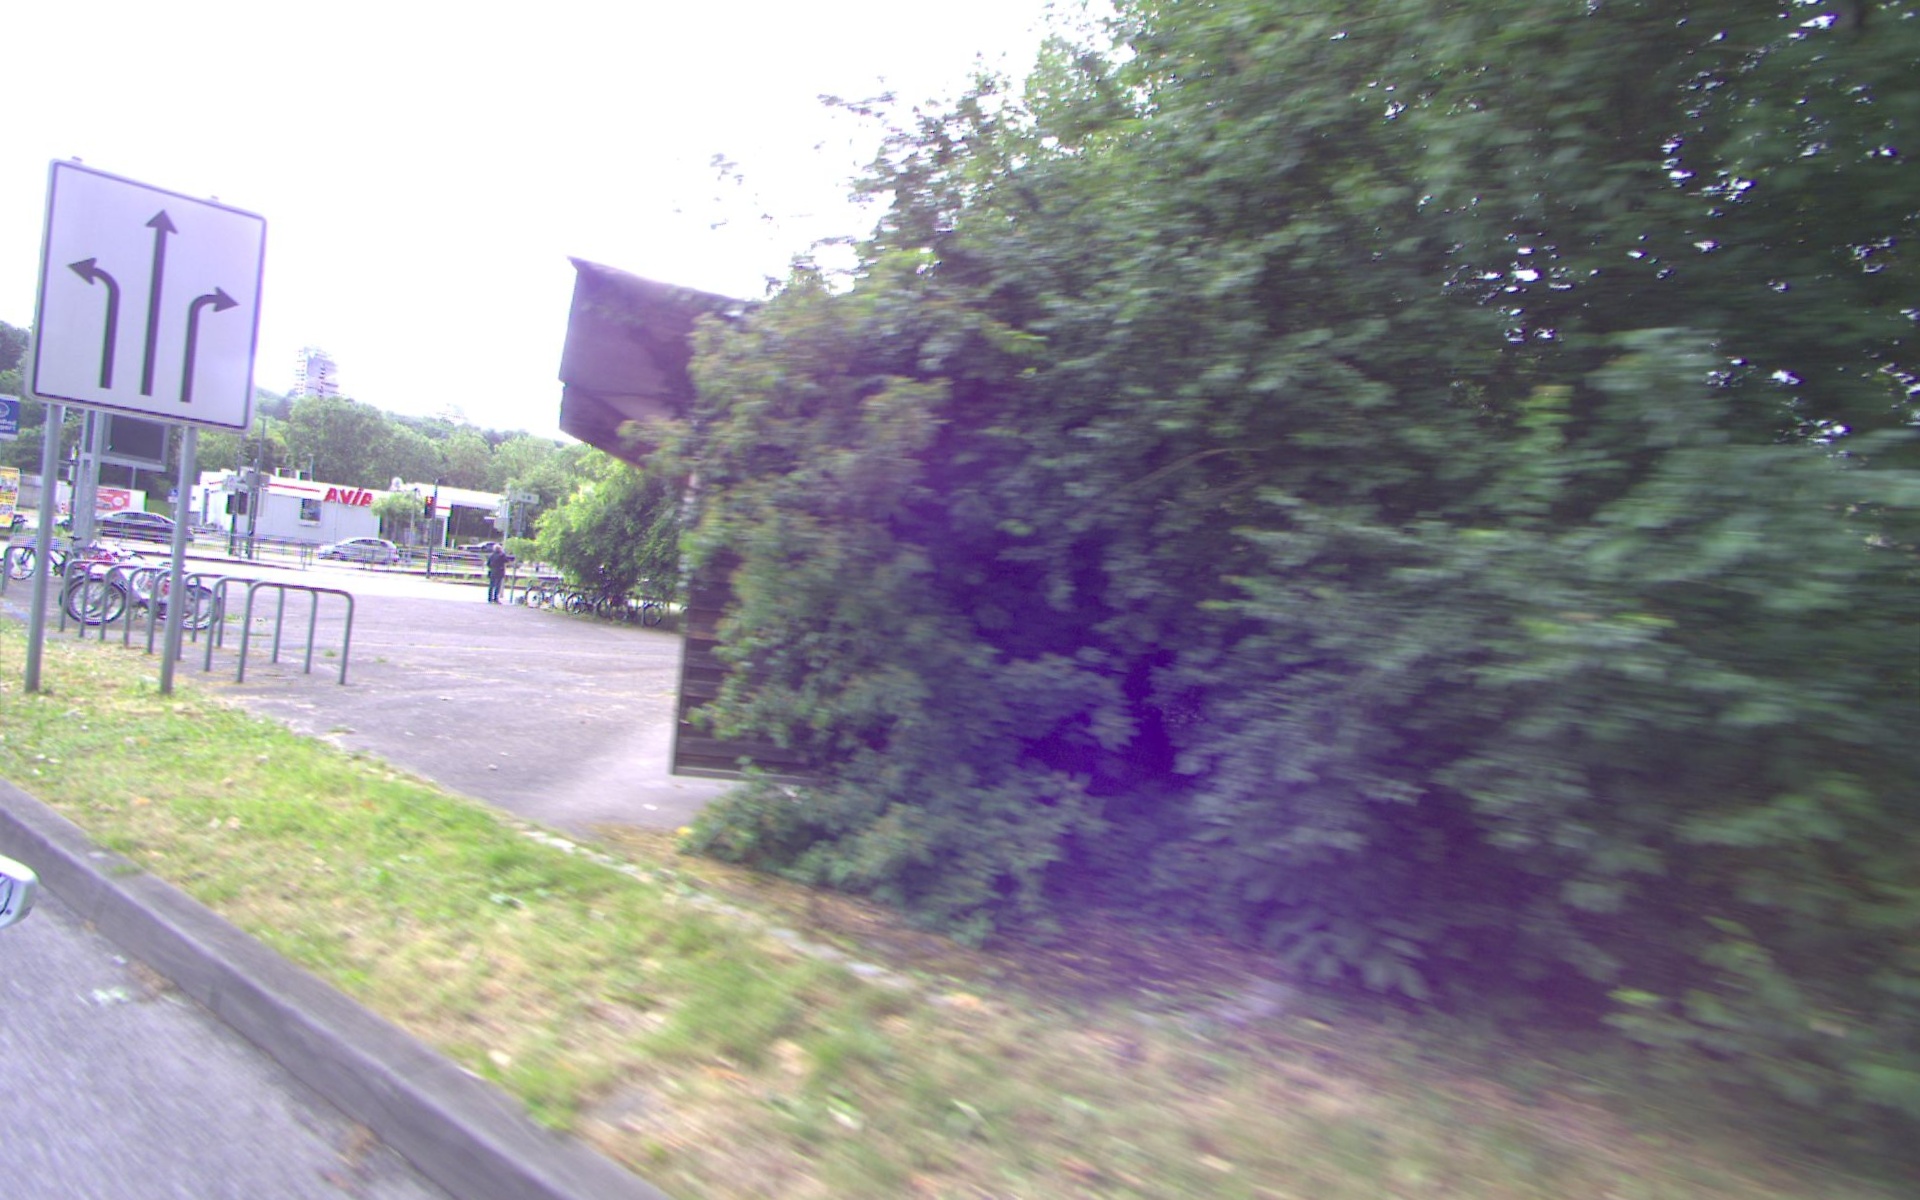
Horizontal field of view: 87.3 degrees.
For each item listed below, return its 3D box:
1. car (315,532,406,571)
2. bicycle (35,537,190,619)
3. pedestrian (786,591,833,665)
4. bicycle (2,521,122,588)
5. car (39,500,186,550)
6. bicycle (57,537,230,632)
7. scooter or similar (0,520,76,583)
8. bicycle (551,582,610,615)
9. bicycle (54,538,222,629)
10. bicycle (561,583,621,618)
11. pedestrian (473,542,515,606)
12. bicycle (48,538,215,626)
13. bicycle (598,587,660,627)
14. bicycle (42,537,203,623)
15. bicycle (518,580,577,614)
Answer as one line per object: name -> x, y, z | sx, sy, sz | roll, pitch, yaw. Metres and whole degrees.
car -> -31.777, -2.566, 53.388 | 3.758, 1.527, 1.683 | 7, 0, -44
bicycle -> -13.760, -0.330, 16.383 | 0.545, 1.124, 1.778 | 6, -1, 38
pedestrian -> -3.304, 0.614, 22.101 | 0.767, 1.551, 0.510 | 6, 1, 40
bicycle -> -18.219, -0.910, 20.447 | 0.472, 1.125, 1.688 | 9, 1, 38
car -> -38.967, -3.430, 46.374 | 5.031, 1.543, 1.723 | 7, 0, -42
bicycle -> -11.290, -0.197, 13.980 | 1.766, 1.125, 0.422 | 6, 0, -34
scooter or similar -> -19.532, -1.017, 21.270 | 0.290, 1.184, 1.178 | 7, 1, 45
bicycle -> -11.666, -0.031, 30.951 | 0.370, 0.910, 1.713 | 7, 2, 38
bicycle -> -11.810, -0.216, 14.504 | 0.449, 1.124, 1.775 | 6, -1, 43
bicycle -> -11.141, 0.021, 30.436 | 0.370, 0.909, 1.715 | 7, 0, 38
pedestrian -> -14.186, -0.778, 30.639 | 0.762, 1.842, 0.689 | 6, 1, 15
bicycle -> -12.294, -0.245, 14.978 | 0.571, 1.124, 1.778 | 6, -1, 38
bicycle -> -9.474, 0.219, 28.841 | 0.370, 1.003, 1.715 | 7, 0, 38
bicycle -> -12.846, -0.284, 15.482 | 0.533, 1.124, 1.778 | 4, -2, 38
bicycle -> -13.039, -0.096, 31.850 | 0.354, 0.909, 1.715 | 7, 0, 38
